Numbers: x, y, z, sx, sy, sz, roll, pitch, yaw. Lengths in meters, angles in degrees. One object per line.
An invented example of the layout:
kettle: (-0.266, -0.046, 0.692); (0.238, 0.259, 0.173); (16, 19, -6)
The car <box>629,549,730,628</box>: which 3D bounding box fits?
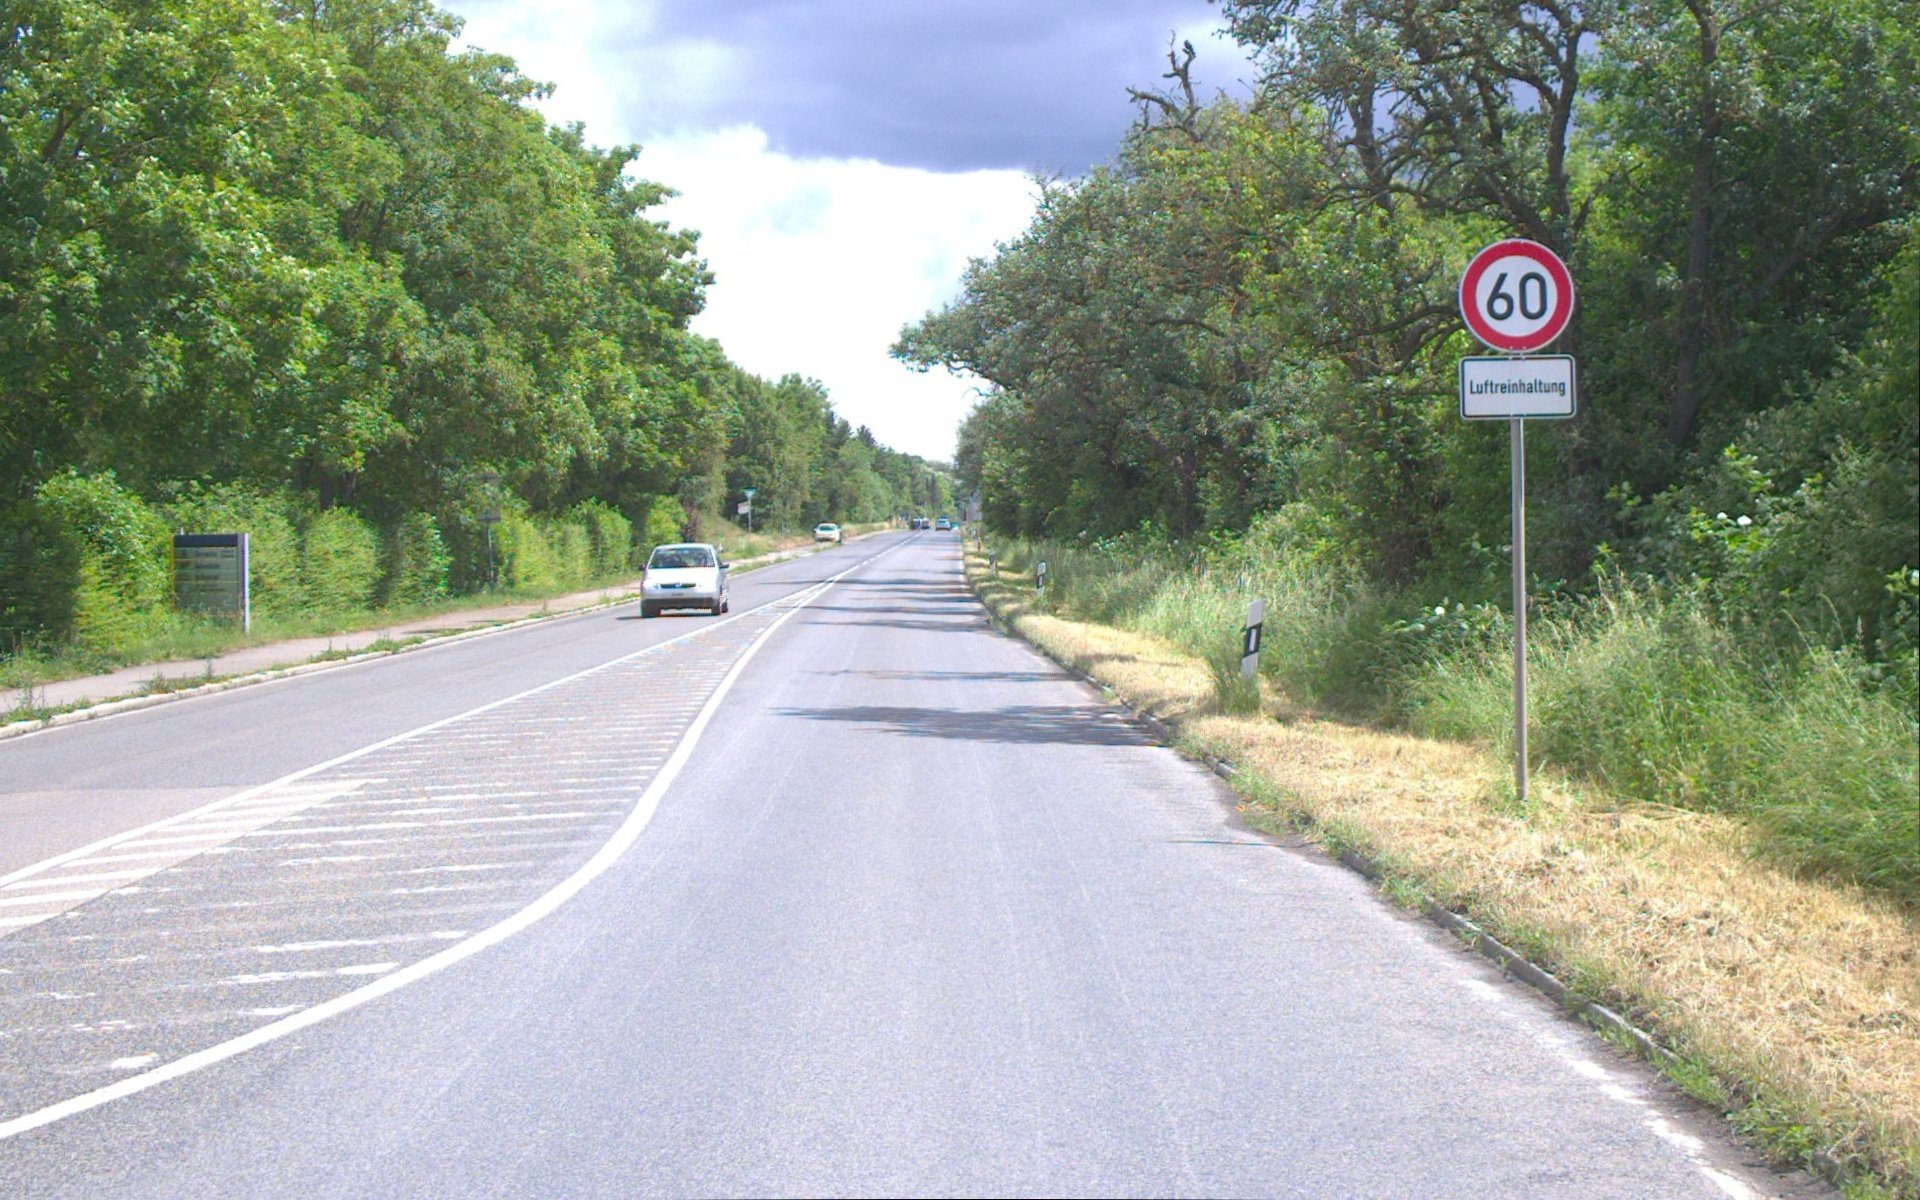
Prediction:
car: (-5.579, -0.253, 68.747); (1.660, 1.427, 3.693); (-2, 2, 0)
